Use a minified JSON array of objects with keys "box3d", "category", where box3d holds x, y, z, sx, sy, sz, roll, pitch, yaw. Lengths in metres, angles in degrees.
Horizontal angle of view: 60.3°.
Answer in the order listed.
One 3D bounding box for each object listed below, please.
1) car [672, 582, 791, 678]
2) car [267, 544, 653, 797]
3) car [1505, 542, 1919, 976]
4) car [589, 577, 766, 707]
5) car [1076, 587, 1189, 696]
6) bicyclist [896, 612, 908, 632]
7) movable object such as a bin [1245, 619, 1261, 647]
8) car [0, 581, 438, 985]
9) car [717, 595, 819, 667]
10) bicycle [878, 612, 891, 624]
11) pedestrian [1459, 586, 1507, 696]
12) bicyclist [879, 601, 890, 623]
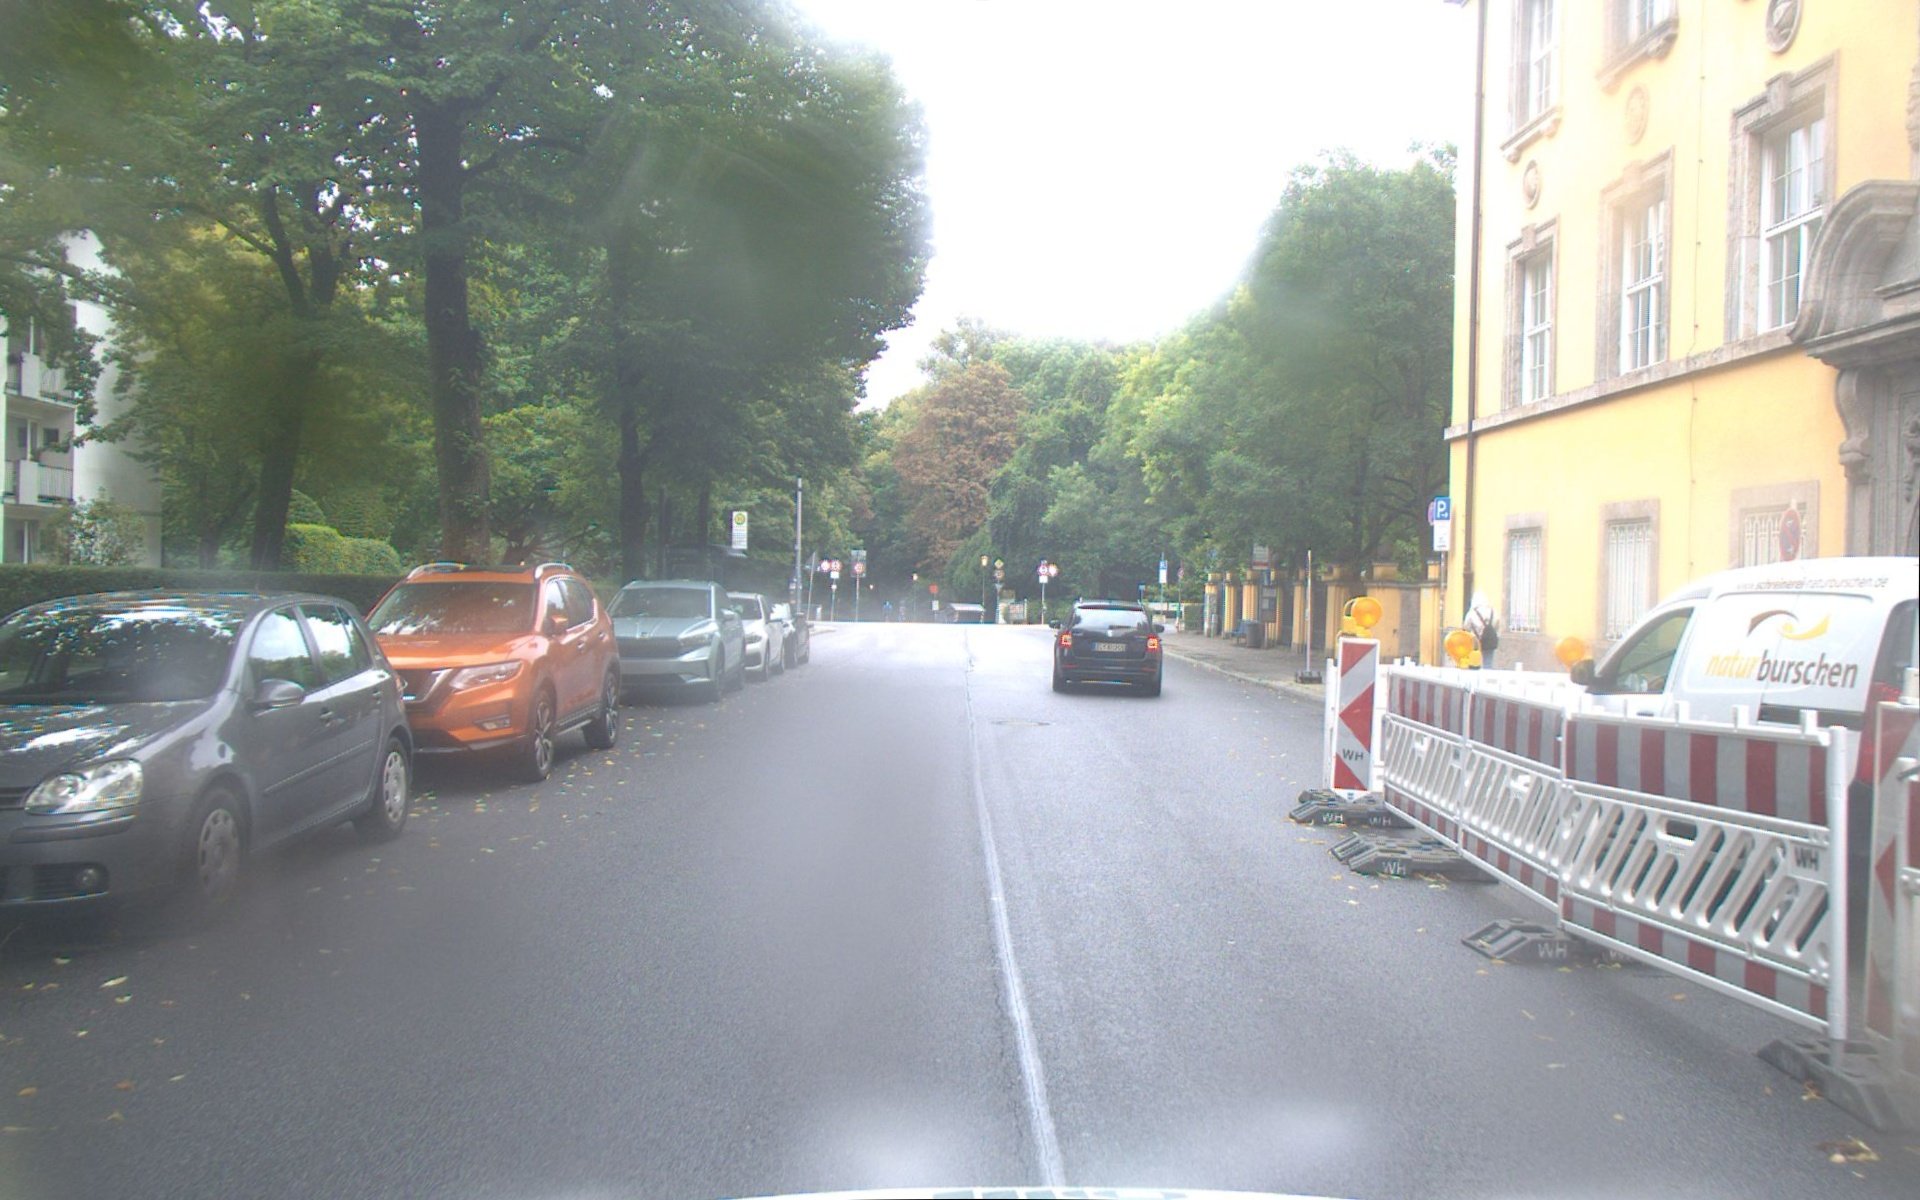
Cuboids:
[{"box3d":[-3.910,0.490,28.914,1.545,1.523,4.198,1,0,-1],"category":"car"},{"box3d":[-3.974,0.502,14.051,1.834,1.758,4.641,1,0,0],"category":"car"},{"box3d":[4.616,0.691,9.012,1.705,1.780,4.354,1,-1,-2],"category":"car"},{"box3d":[-3.861,0.536,23.333,1.778,1.629,4.512,1,0,-1],"category":"car"},{"box3d":[2.751,0.631,27.009,1.544,1.611,4.045,1,0,2],"category":"car"},{"box3d":[-3.664,1.378,104.210,0.668,1.208,0.480,1,0,-11],"category":"bicyclist"},{"box3d":[8.649,0.975,48.769,0.388,0.794,0.465,1,0,2],"category":"movable object such as a bin"},{"box3d":[-4.043,0.649,8.133,1.692,1.447,4.250,1,0,-2],"category":"car"},{"box3d":[-3.905,0.599,34.191,1.545,1.366,4.044,1,0,1],"category":"car"},{"box3d":[-5.342,1.300,117.366,0.667,0.844,2.105,1,-1,-10],"category":"bicycle"},{"box3d":[8.091,0.628,25.594,0.549,1.666,0.571,-1,0,-1],"category":"pedestrian"},{"box3d":[-5.391,0.869,117.638,0.668,1.530,0.899,1,0,-10],"category":"bicyclist"}]
